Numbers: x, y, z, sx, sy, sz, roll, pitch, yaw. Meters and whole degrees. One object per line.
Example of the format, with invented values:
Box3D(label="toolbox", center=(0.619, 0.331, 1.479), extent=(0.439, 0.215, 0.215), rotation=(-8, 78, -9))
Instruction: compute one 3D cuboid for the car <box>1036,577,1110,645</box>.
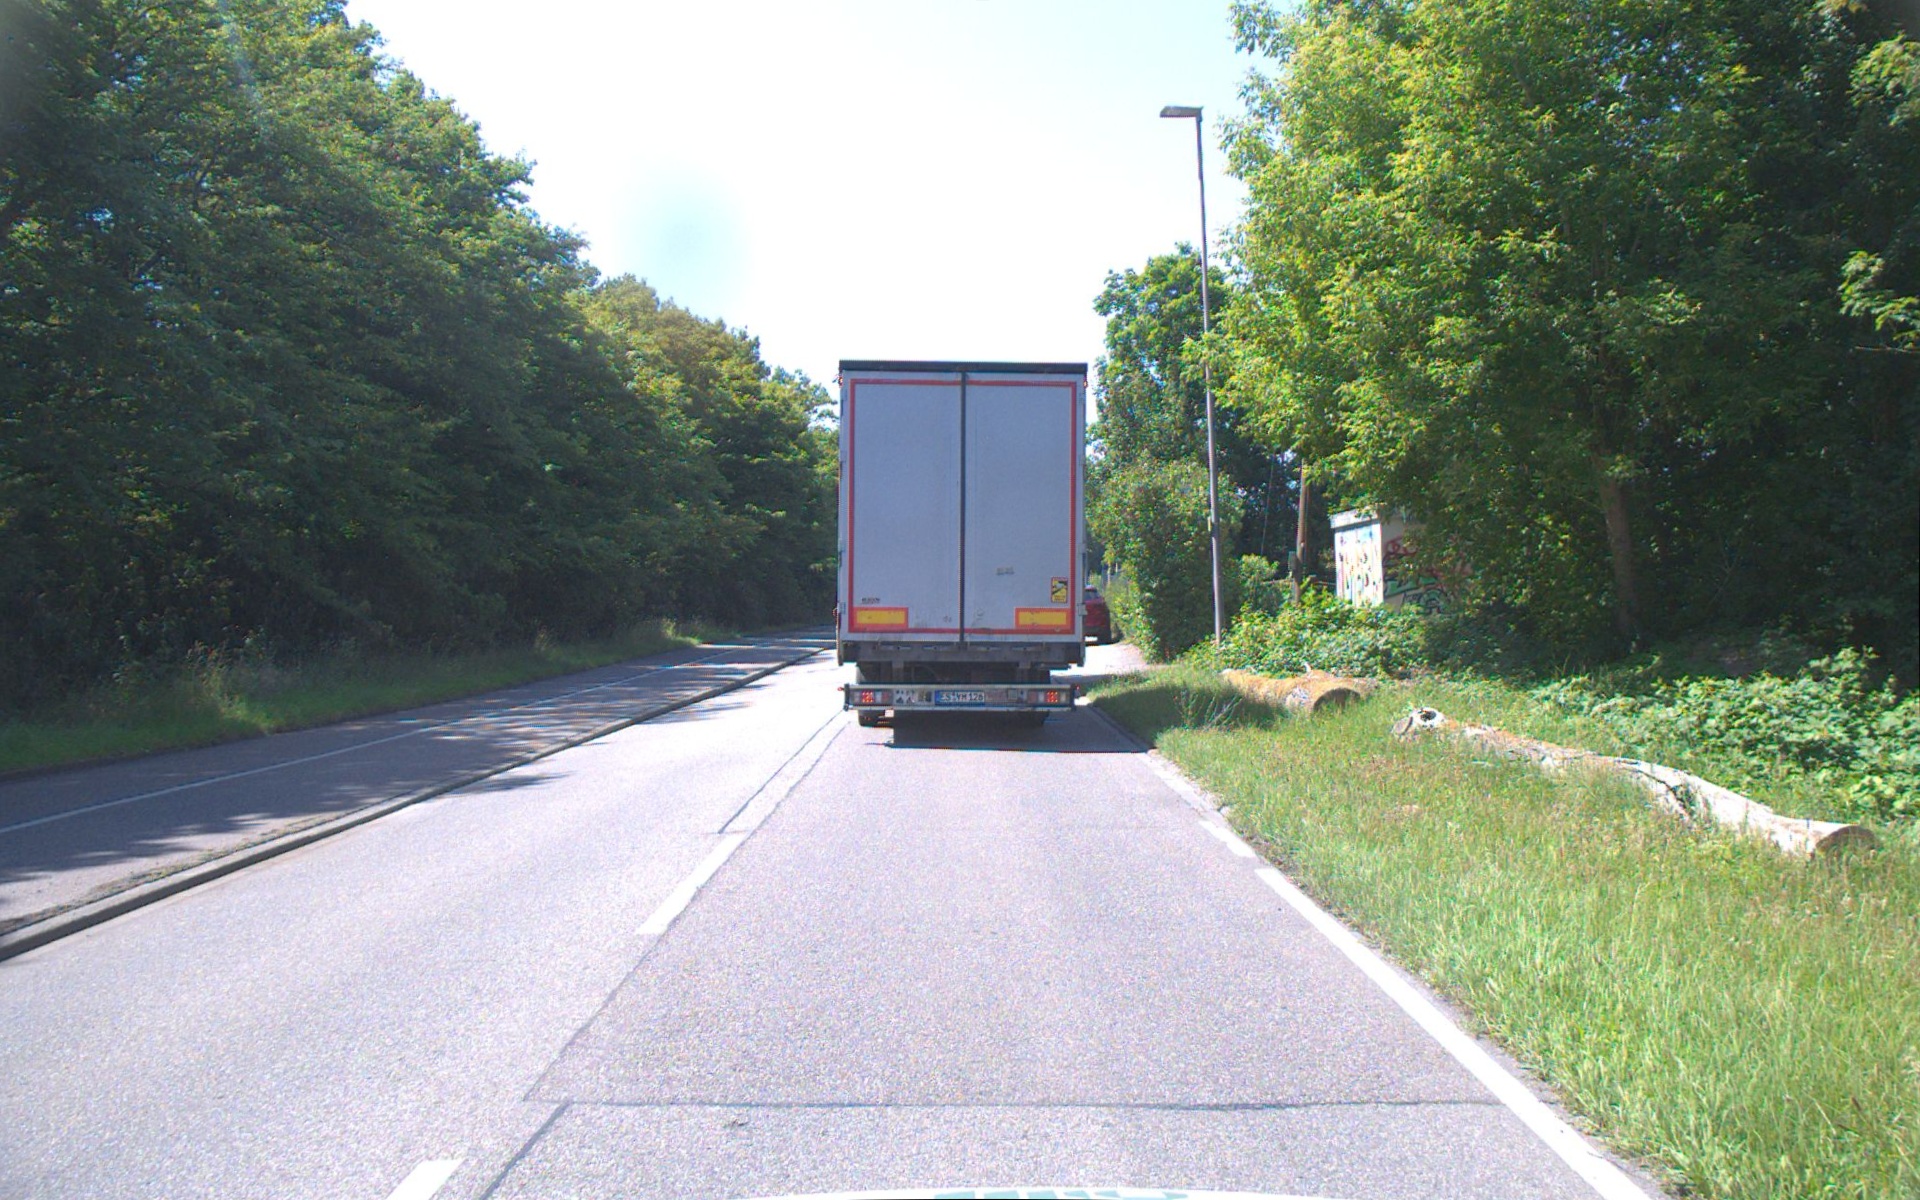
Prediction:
Box3D(label="car", center=(3.213, 0.282, 47.610), extent=(1.753, 1.686, 4.453), rotation=(-6, 0, 1))

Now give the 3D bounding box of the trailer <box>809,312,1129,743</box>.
Box3D(label="trailer", center=(0.008, -0.754, 22.130), extent=(3.049, 4.174, 11.534), rotation=(-2, 0, -1))
